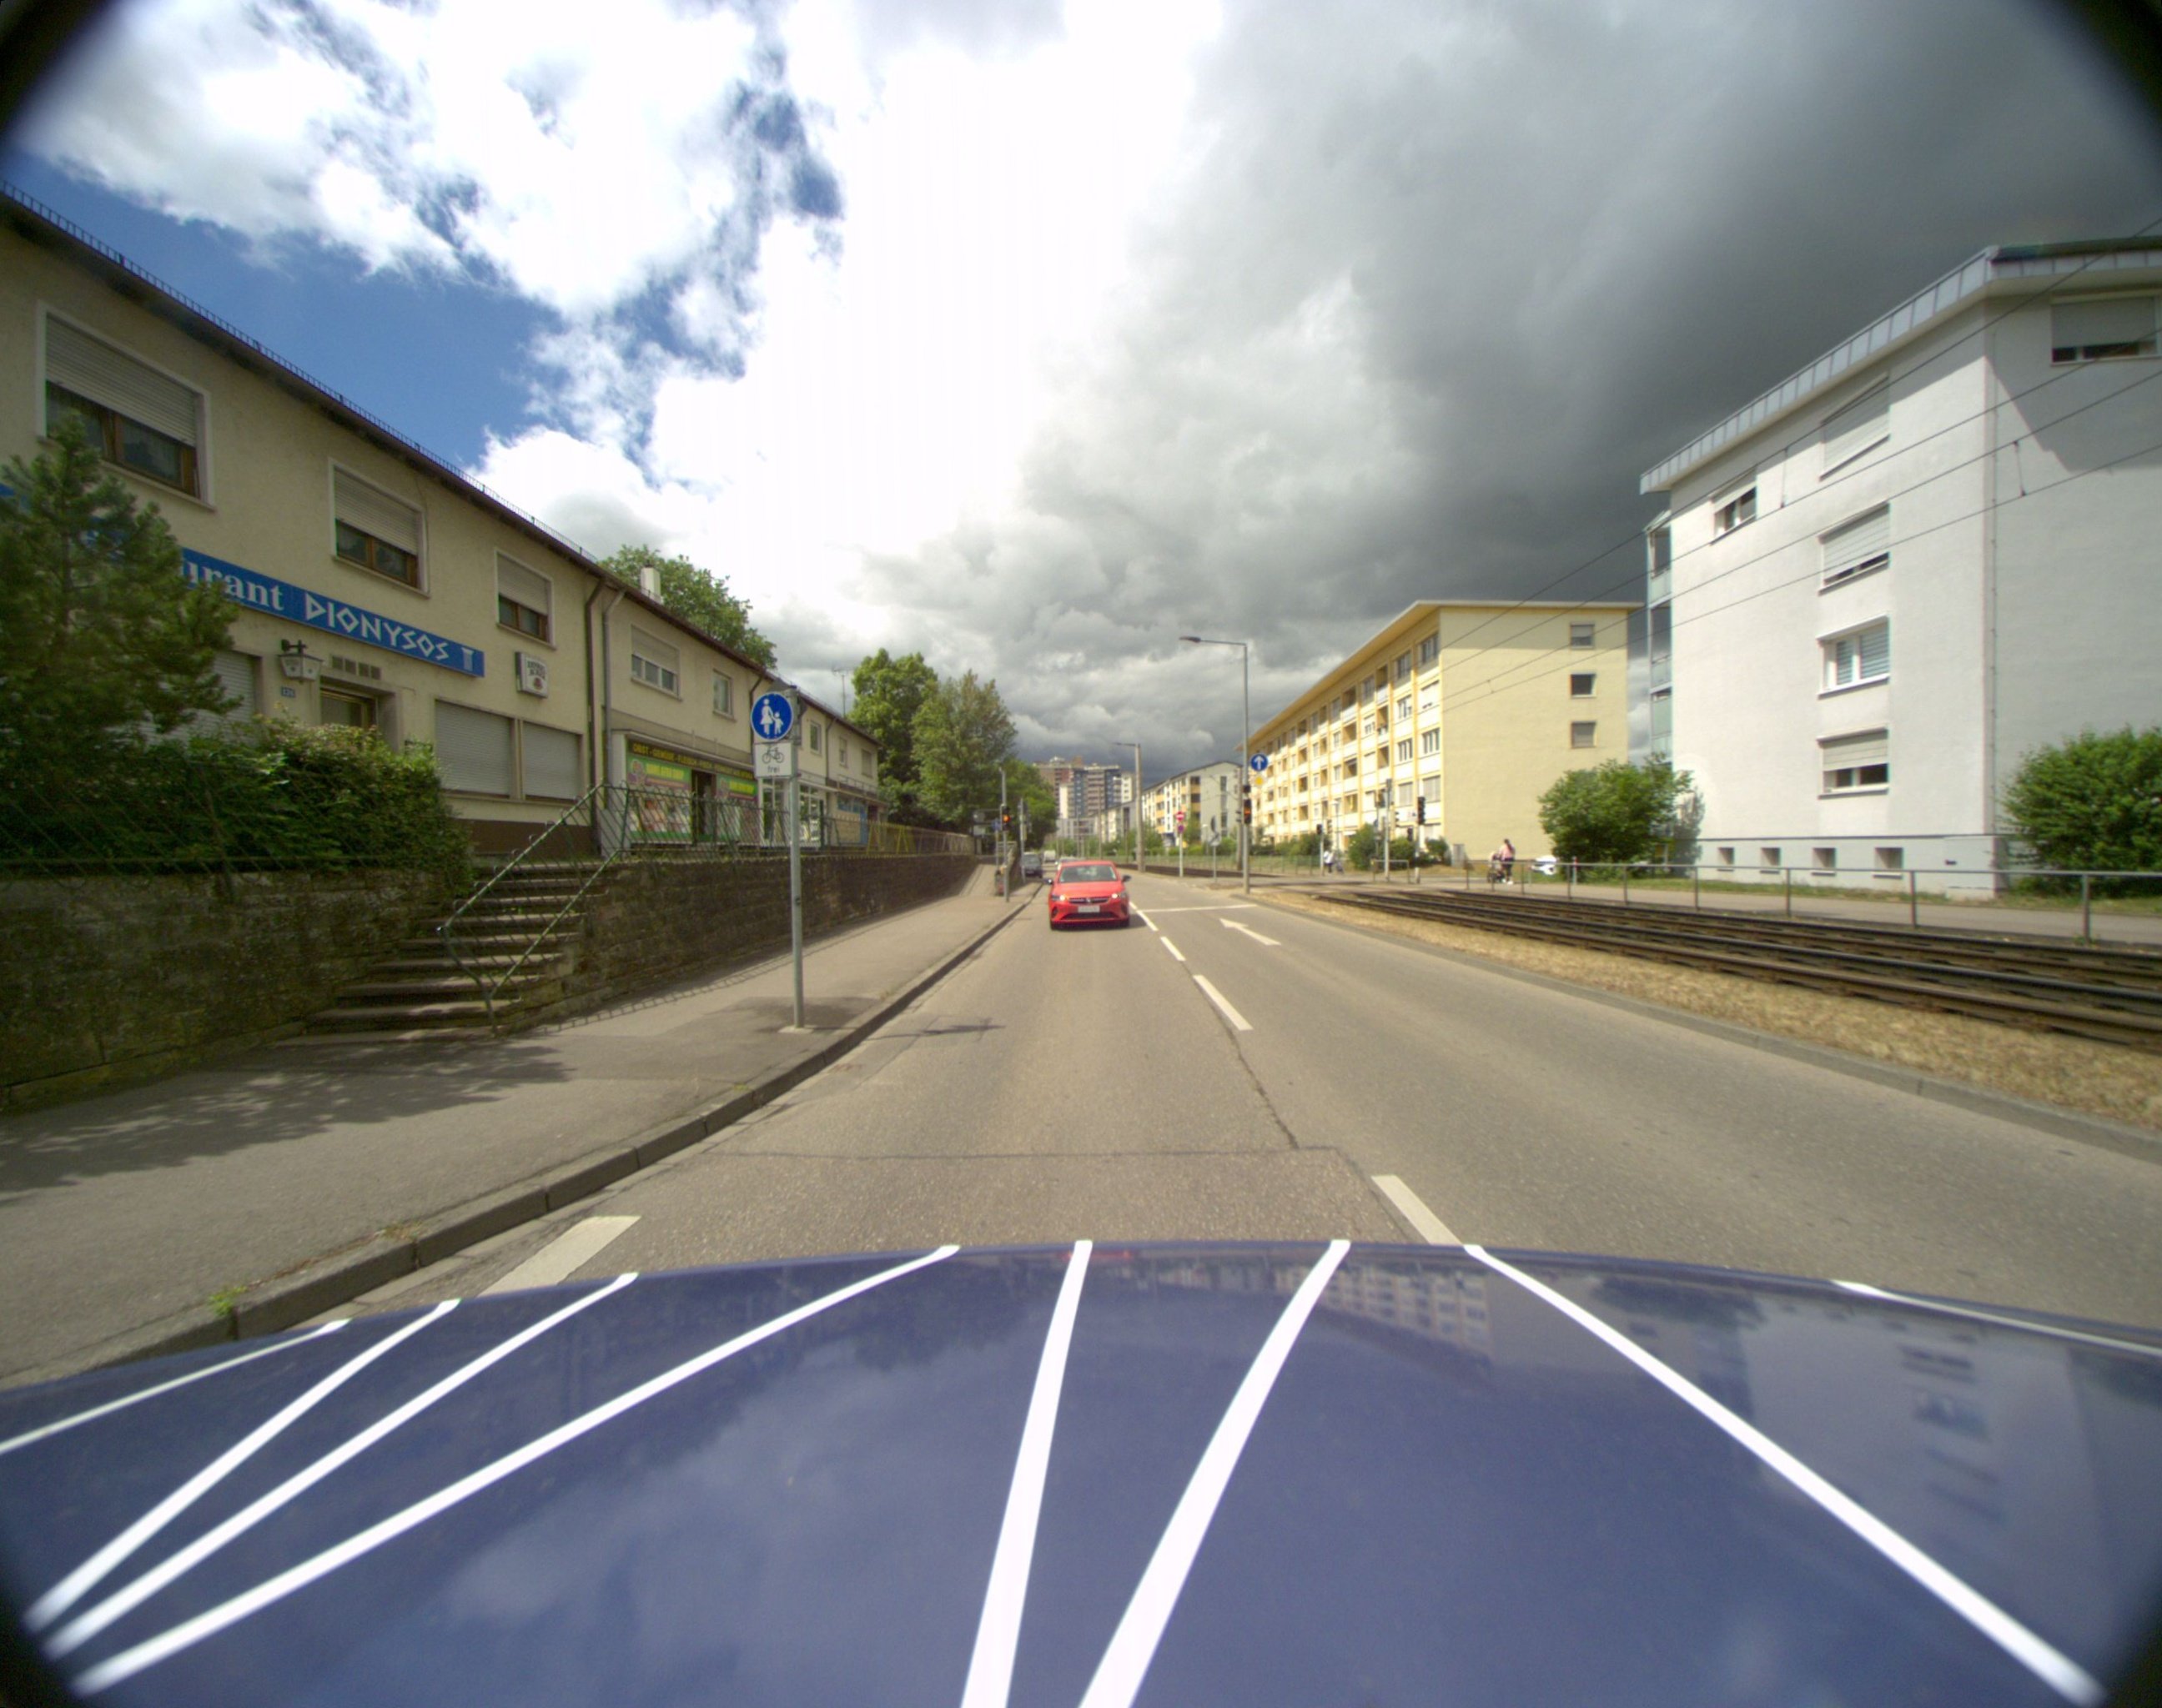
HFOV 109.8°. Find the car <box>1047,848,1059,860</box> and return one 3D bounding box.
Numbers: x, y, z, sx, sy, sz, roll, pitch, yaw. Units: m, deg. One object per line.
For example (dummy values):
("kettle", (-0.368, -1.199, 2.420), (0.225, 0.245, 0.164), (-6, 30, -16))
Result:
("car", (-5.613, -0.013, 150.968), (2.237, 2.460, 5.084), (-1, 0, -4))

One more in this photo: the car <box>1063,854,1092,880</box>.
("car", (-0.222, 0.760, 45.387), (1.499, 1.477, 3.519), (-1, 0, -4))

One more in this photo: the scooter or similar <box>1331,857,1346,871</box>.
("scooter or similar", (14.445, 0.551, 42.620), (0.534, 0.769, 0.666), (-3, 1, -1))

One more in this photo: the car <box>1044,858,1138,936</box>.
("car", (0.105, 0.875, 17.458), (1.784, 1.434, 4.129), (-3, 1, -4))

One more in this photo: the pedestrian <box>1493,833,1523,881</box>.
("pedestrian", (15.243, 0.095, 27.108), (0.647, 1.683, 0.679), (-2, 1, 0))

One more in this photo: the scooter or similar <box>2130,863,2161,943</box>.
("scooter or similar", (15.623, 0.691, 10.684), (0.606, 1.108, 0.821), (-2, 1, -2))

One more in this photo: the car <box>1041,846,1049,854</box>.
("car", (-9.924, -1.144, 209.271), (2.237, 2.050, 4.360), (-1, 0, -4))

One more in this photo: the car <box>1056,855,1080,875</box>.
("car", (-1.032, 0.800, 57.896), (1.639, 1.346, 3.999), (-3, 1, -2))

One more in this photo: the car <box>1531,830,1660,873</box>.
("car", (22.211, -0.120, 32.936), (4.286, 1.719, 1.810), (-2, 1, 6))

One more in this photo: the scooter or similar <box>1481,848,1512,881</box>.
("scooter or similar", (15.260, 0.368, 27.907), (0.609, 1.156, 0.891), (-2, 1, 0))

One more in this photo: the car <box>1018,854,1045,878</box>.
("car", (-3.422, 0.781, 52.502), (1.760, 1.570, 4.020), (-1, 0, -4))

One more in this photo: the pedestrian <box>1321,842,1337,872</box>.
("pedestrian", (13.958, 0.163, 42.783), (0.605, 1.598, 0.773), (-3, 1, -1))
